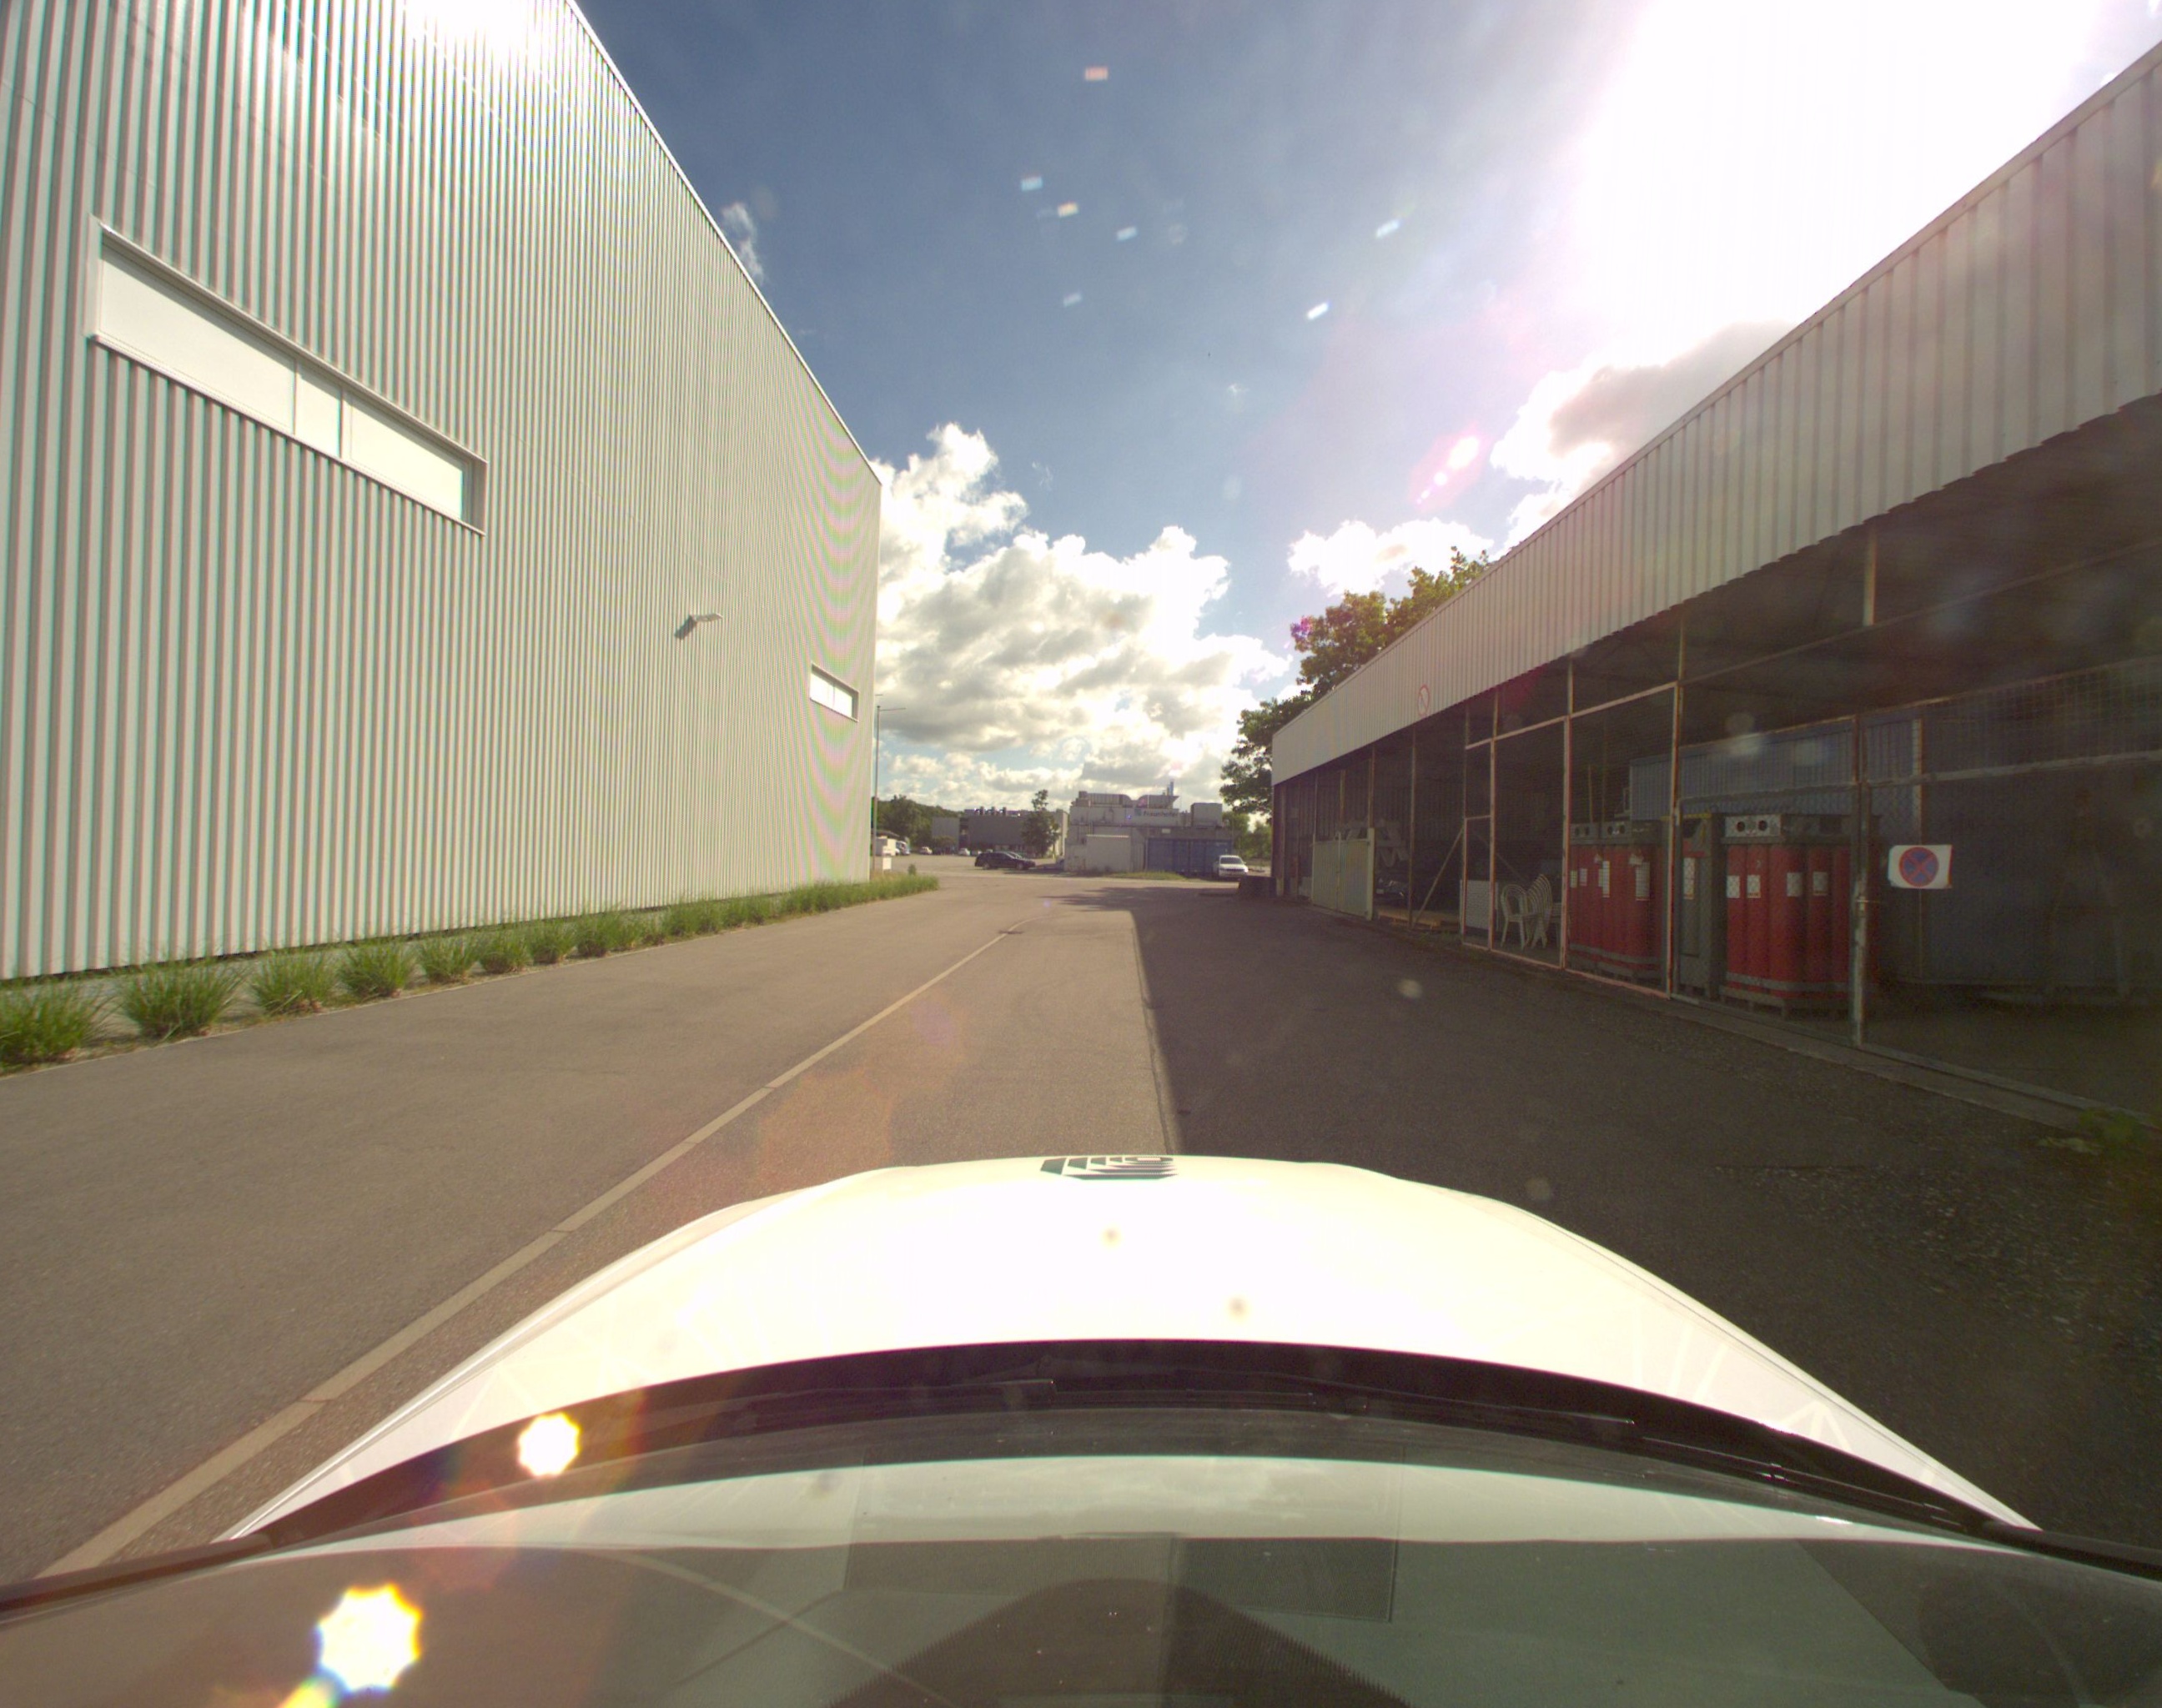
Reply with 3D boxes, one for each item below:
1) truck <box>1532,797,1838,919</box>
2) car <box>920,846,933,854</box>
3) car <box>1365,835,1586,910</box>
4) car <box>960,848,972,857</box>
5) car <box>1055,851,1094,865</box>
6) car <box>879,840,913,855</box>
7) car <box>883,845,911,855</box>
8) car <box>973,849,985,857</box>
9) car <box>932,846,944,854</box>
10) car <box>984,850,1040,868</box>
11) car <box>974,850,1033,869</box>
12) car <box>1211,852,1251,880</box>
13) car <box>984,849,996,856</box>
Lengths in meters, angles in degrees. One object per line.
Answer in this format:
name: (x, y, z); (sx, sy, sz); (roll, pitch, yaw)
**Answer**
truck: (14.250, 0.071, 19.530); (5.544, 2.706, 2.367); (0, 0, 2)
car: (-31.152, -0.789, 164.224); (1.842, 1.668, 4.130); (-1, 0, -2)
car: (10.945, 0.496, 22.862); (5.153, 1.918, 2.276); (1, 0, -3)
car: (-23.154, -0.324, 164.099); (1.871, 1.689, 4.035); (-1, 0, 0)
car: (-0.731, 0.469, 94.113); (4.262, 1.569, 1.988); (1, -2, 2)
car: (-31.917, -1.180, 140.708); (5.231, 2.442, 2.053); (2, 0, 6)
car: (-31.082, -0.711, 137.735); (4.089, 1.630, 1.811); (2, 0, 6)
car: (-20.605, -0.273, 163.868); (1.871, 1.537, 4.035); (-1, 0, 0)
car: (-28.714, -0.747, 164.029); (1.873, 1.537, 4.032); (-1, 0, -2)
car: (-5.890, 0.464, 69.760); (4.511, 1.443, 1.905); (1, -2, 2)
car: (-6.273, 0.465, 66.510); (4.511, 1.443, 1.988); (1, -2, 2)
car: (9.775, 0.746, 53.396); (1.973, 1.593, 4.343); (2, 1, 2)
car: (-18.276, -0.294, 164.017); (1.871, 1.537, 4.035); (-1, 0, 0)
